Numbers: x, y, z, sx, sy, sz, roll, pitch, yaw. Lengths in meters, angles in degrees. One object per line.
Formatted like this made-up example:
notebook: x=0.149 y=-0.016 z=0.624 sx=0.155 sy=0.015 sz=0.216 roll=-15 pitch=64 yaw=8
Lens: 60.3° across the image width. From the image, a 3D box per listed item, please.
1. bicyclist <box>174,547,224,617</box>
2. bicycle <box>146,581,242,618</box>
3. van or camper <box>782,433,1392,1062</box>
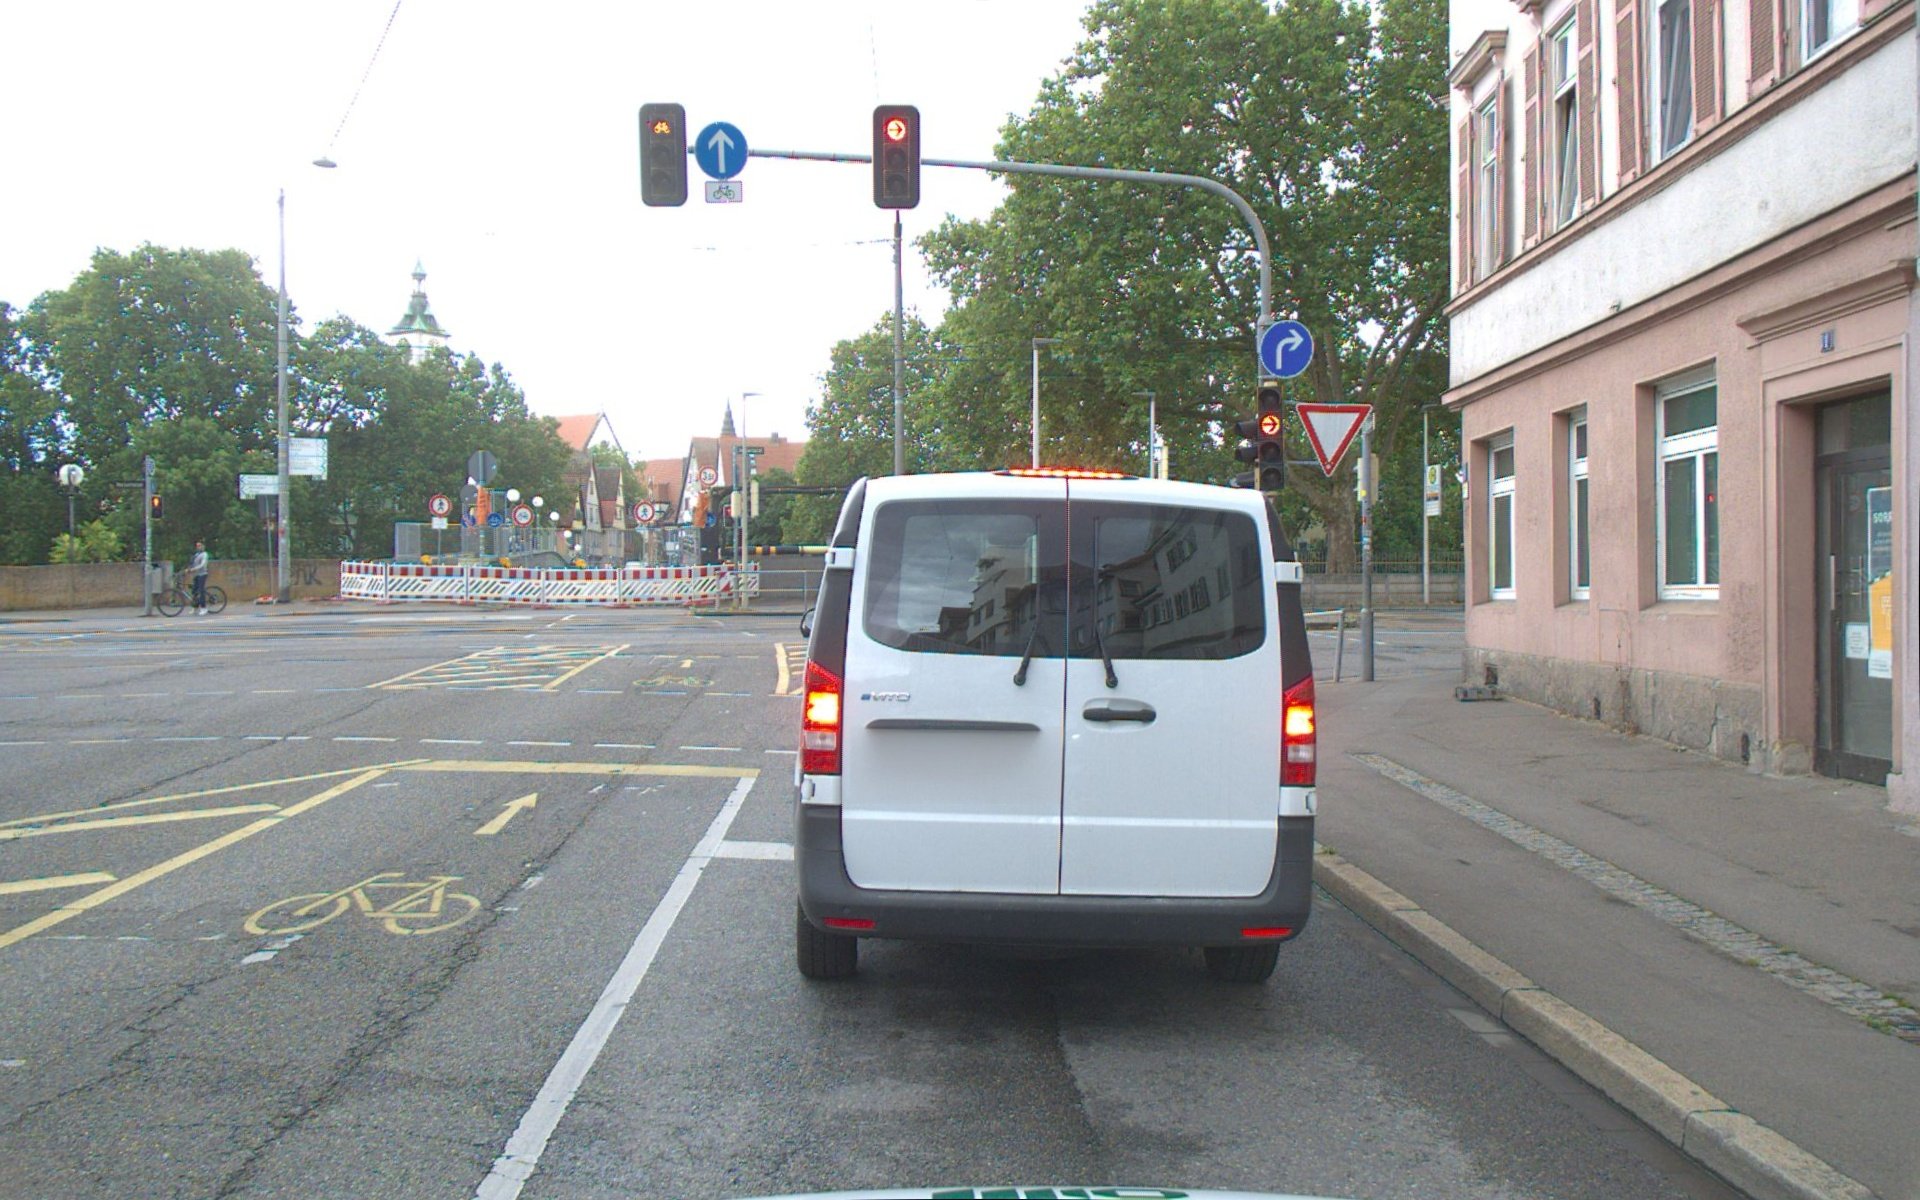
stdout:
bicyclist: x=-19.619 y=-0.479 z=42.649 sx=0.996 sy=1.774 sz=0.743 roll=-1 pitch=1 yaw=-42
bicycle: x=-19.712 y=-0.027 z=42.588 sx=2.120 sy=0.907 sz=0.749 roll=-1 pitch=2 yaw=-42
van or camper: x=0.264 y=0.398 z=7.423 sx=1.899 sy=1.958 sz=4.438 roll=1 pitch=2 yaw=-4
